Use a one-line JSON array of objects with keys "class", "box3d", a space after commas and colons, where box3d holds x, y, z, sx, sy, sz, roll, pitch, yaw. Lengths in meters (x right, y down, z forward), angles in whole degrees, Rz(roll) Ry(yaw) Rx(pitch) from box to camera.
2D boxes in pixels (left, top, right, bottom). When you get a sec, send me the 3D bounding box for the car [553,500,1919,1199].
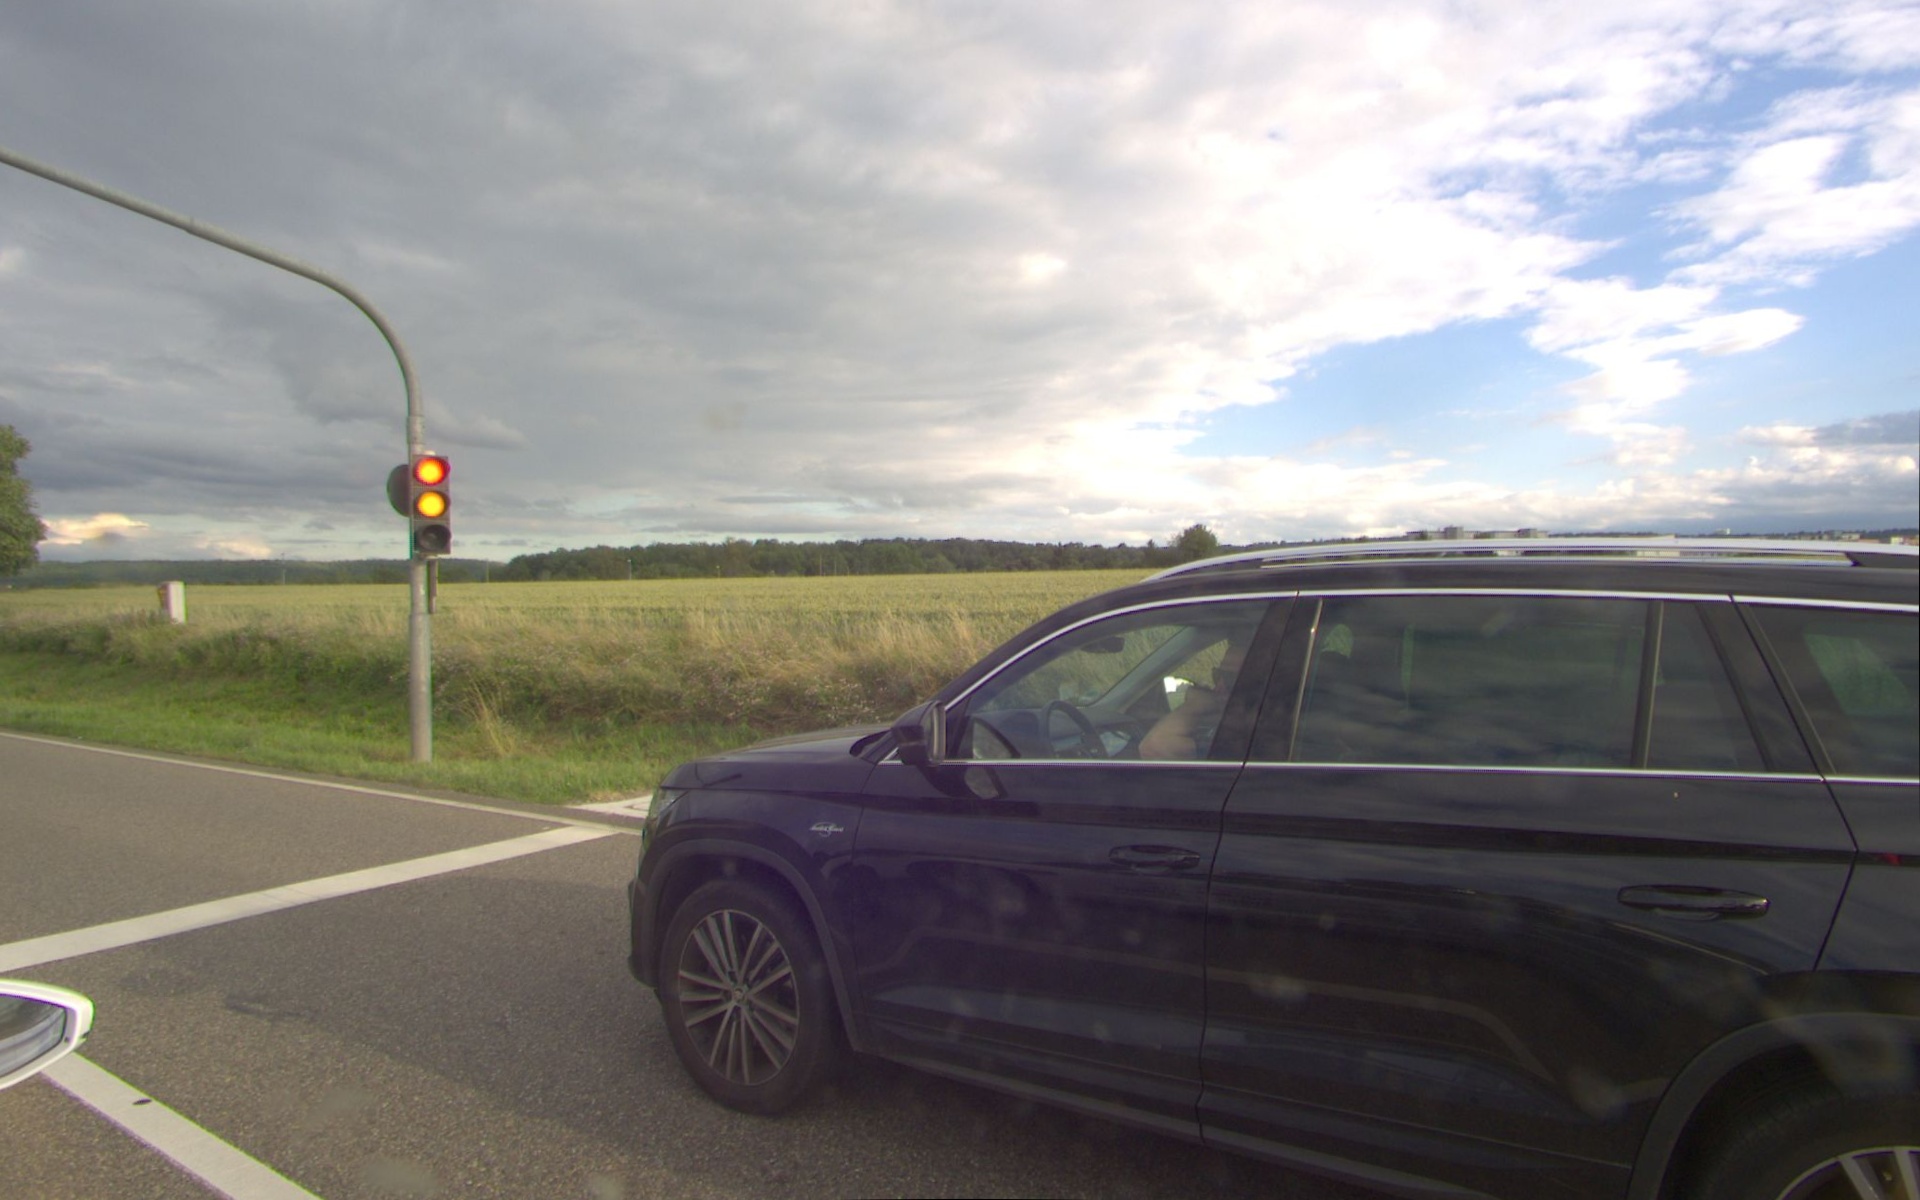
[{"class": "car", "box3d": [0.903, 0.719, 3.005, 4.355, 1.689, 1.716, 0, -1, 32]}]
